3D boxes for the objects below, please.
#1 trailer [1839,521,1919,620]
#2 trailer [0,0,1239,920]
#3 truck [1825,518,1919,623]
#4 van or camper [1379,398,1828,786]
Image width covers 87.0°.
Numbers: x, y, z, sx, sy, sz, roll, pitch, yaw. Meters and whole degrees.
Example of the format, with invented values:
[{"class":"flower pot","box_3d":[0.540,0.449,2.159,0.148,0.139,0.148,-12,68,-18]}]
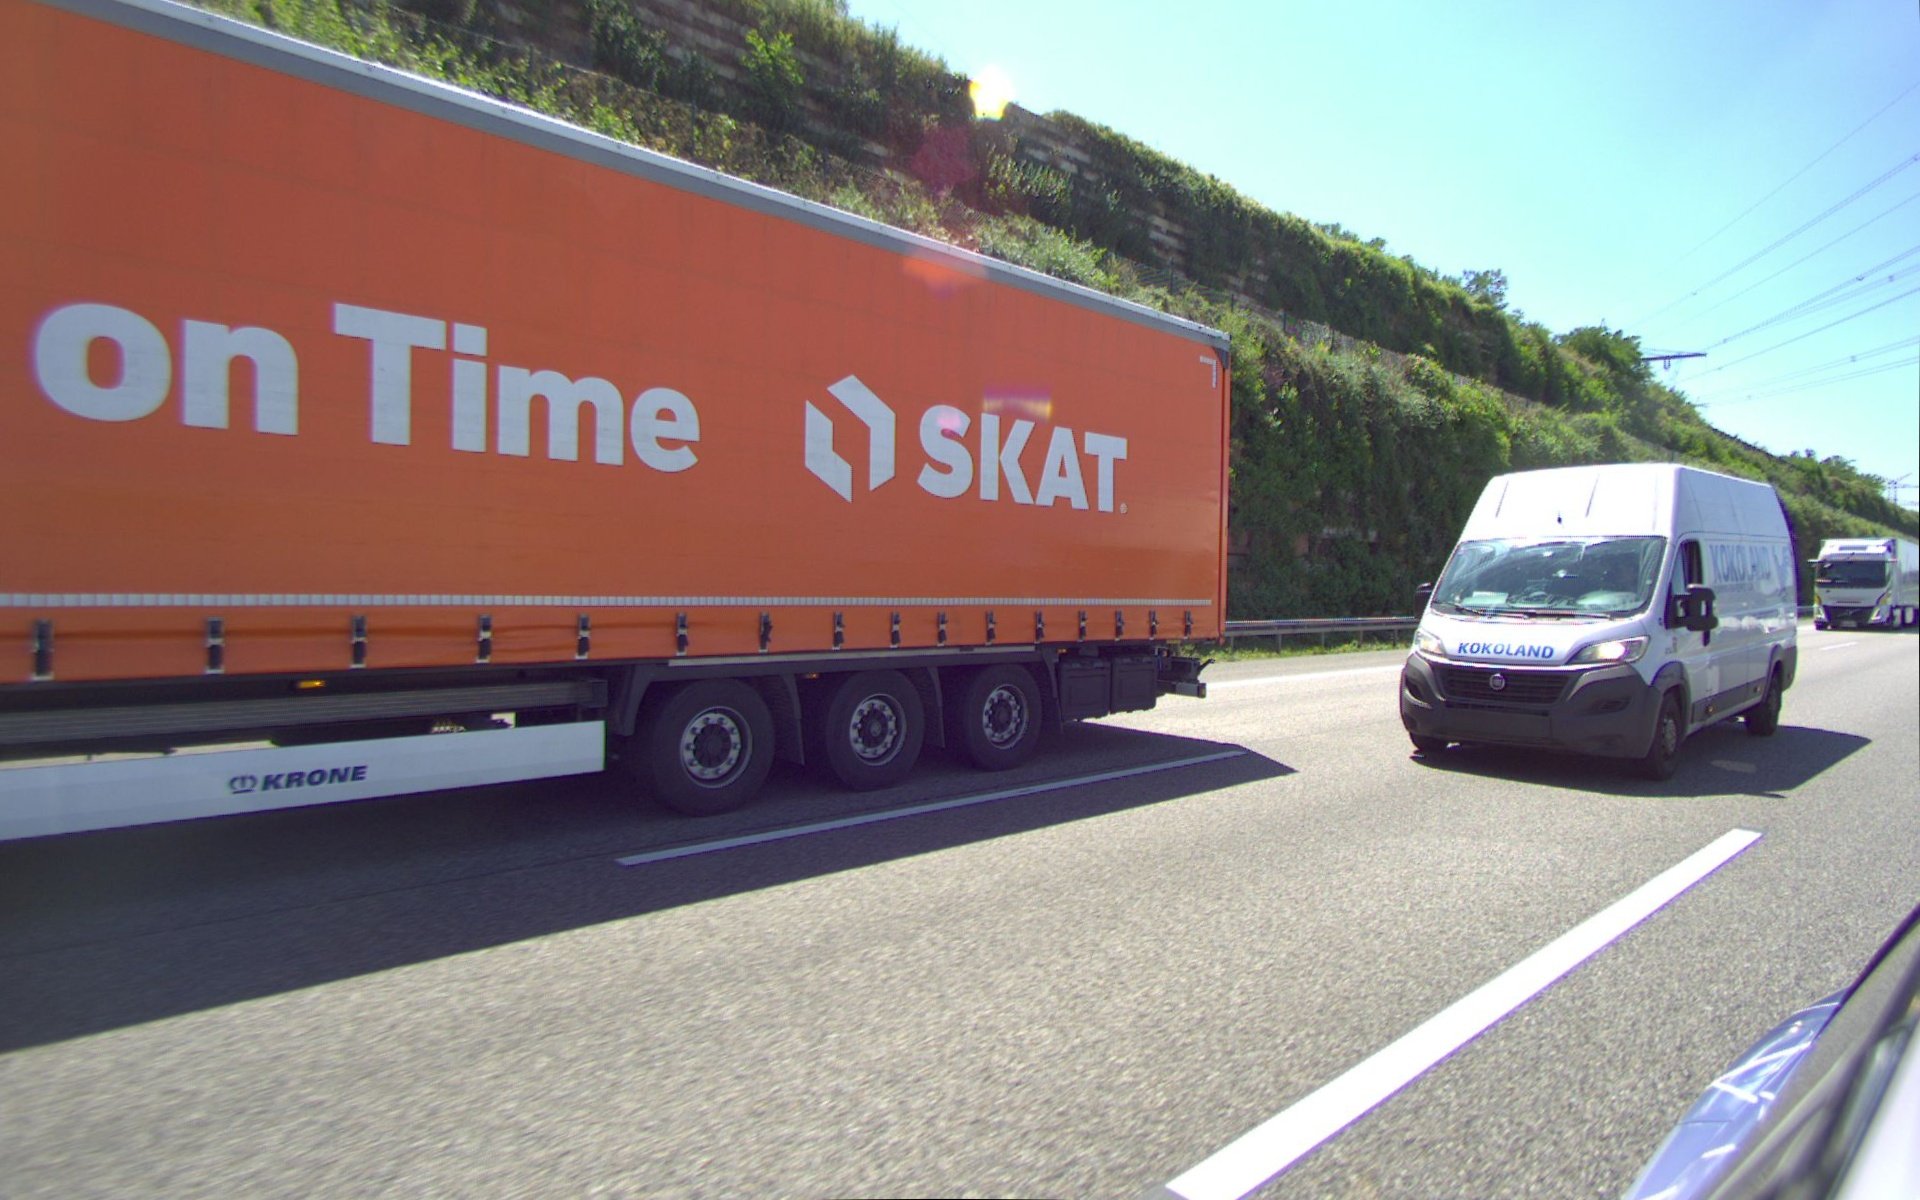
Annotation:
[{"class":"trailer","box_3d":[46.676,-1.348,50.179,16.733,4.264,2.519,0,1,-42]},{"class":"trailer","box_3d":[-3.165,-0.752,6.553,13.368,4.055,2.650,0,1,-41]},{"class":"truck","box_3d":[40.278,-1.279,44.487,6.147,4.272,2.512,-1,2,-41]},{"class":"van or camper","box_3d":[6.864,-0.101,10.312,6.640,2.803,2.100,0,1,-42]}]
